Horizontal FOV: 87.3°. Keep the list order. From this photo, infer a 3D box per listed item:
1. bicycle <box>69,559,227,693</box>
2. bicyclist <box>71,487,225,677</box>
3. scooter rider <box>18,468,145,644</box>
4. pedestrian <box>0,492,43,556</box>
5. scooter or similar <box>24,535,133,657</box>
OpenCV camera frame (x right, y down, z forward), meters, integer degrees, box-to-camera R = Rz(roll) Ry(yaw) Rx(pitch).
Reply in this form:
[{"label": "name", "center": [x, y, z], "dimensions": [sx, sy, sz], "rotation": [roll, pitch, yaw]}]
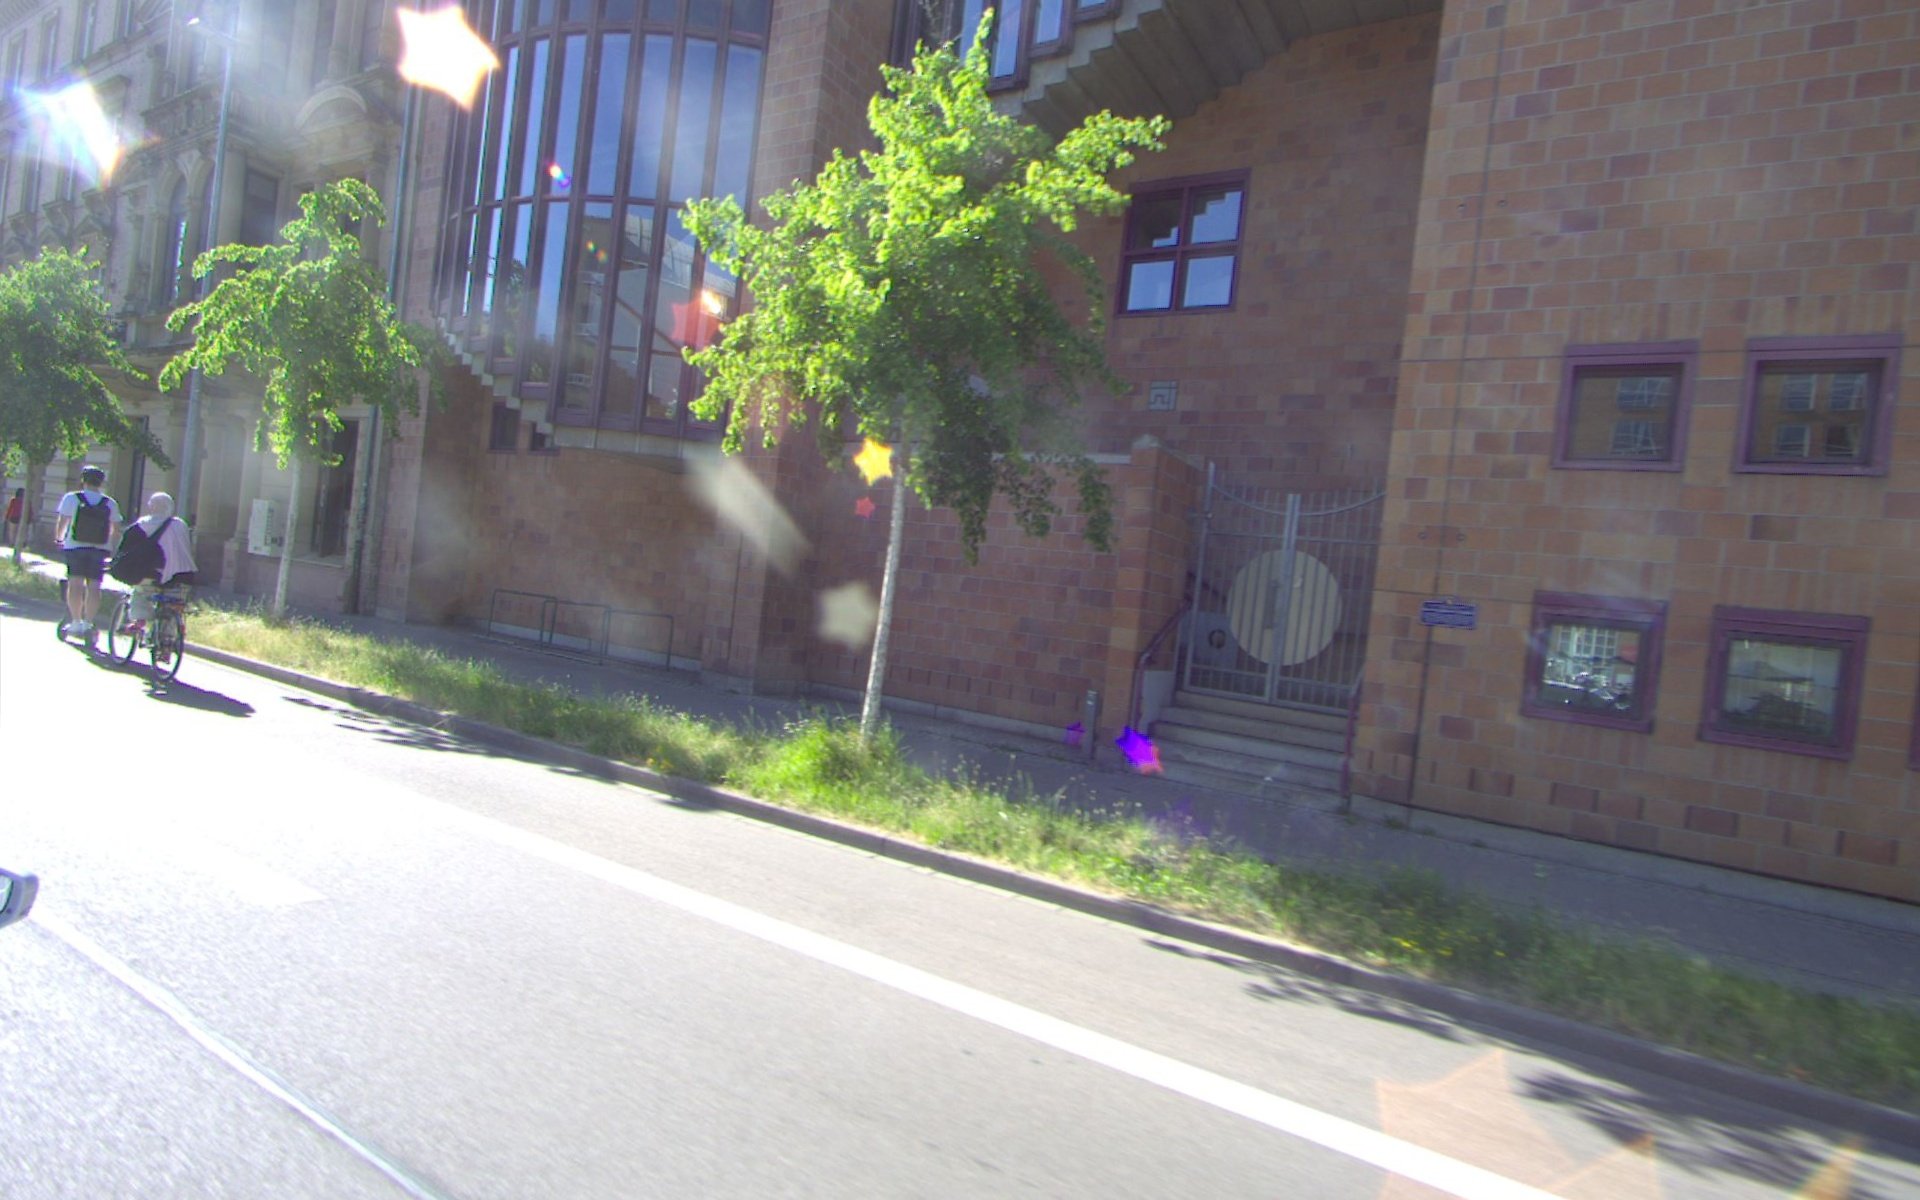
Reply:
[{"label": "bicycle", "center": [-8.118, 0.242, 10.037], "dimensions": [1.762, 1.105, 0.558], "rotation": [7, -1, 31]}, {"label": "bicyclist", "center": [-8.074, -0.168, 10.015], "dimensions": [0.854, 1.731, 0.781], "rotation": [7, -1, 31]}, {"label": "scooter rider", "center": [-10.063, -0.500, 11.526], "dimensions": [0.886, 1.882, 0.667], "rotation": [7, -1, 31]}, {"label": "pedestrian", "center": [-24.450, -1.974, 26.065], "dimensions": [0.912, 1.561, 0.710], "rotation": [7, 1, 31]}, {"label": "scooter or similar", "center": [-10.043, -0.053, 11.454], "dimensions": [1.151, 1.241, 0.491], "rotation": [7, -1, 31]}]
